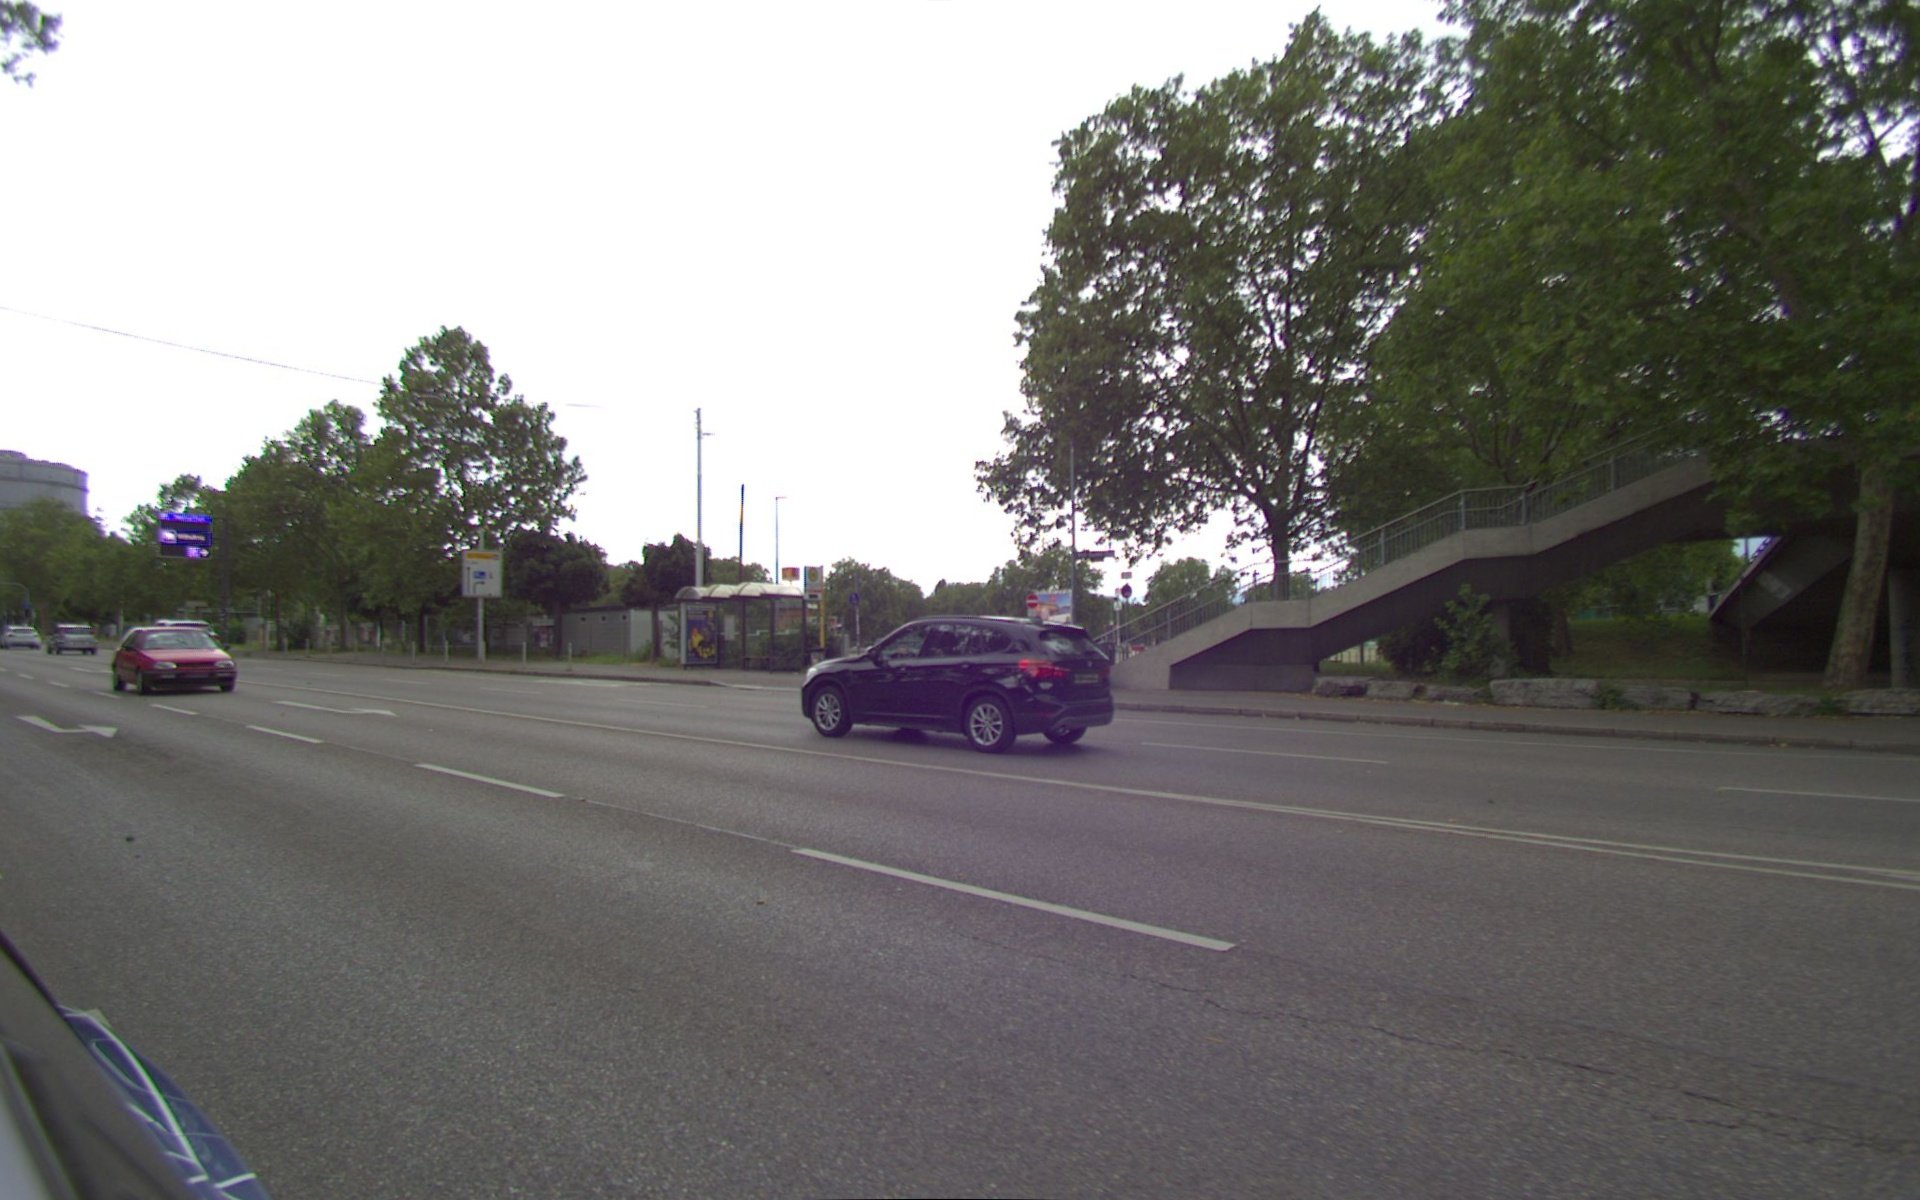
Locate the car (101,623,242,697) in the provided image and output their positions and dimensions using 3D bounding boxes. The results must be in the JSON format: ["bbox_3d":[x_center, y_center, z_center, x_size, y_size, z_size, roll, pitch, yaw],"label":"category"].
[{"bbox_3d":[-17.496,1.262,22.387,4.076,1.463,1.809,-2,-2,42],"label":"car"}]

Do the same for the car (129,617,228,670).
[{"bbox_3d":[-29.060,1.576,37.571,4.592,1.758,1.973,0,-2,41],"label":"car"}]

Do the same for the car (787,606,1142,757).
[{"bbox_3d":[-0.064,0.958,12.936,4.423,1.618,1.752,-2,-4,39],"label":"car"}]

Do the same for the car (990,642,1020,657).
[{"bbox_3d":[5.574,6.098,124.770,1.994,1.716,3.942,-1,-1,33],"label":"car"}]

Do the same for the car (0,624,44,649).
[{"bbox_3d":[-59.975,2.345,64.344,4.382,1.542,1.973,-2,-3,41],"label":"car"}]

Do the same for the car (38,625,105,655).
[{"bbox_3d":[-46.881,2.098,53.390,3.996,1.537,1.974,-1,-3,39],"label":"car"}]
